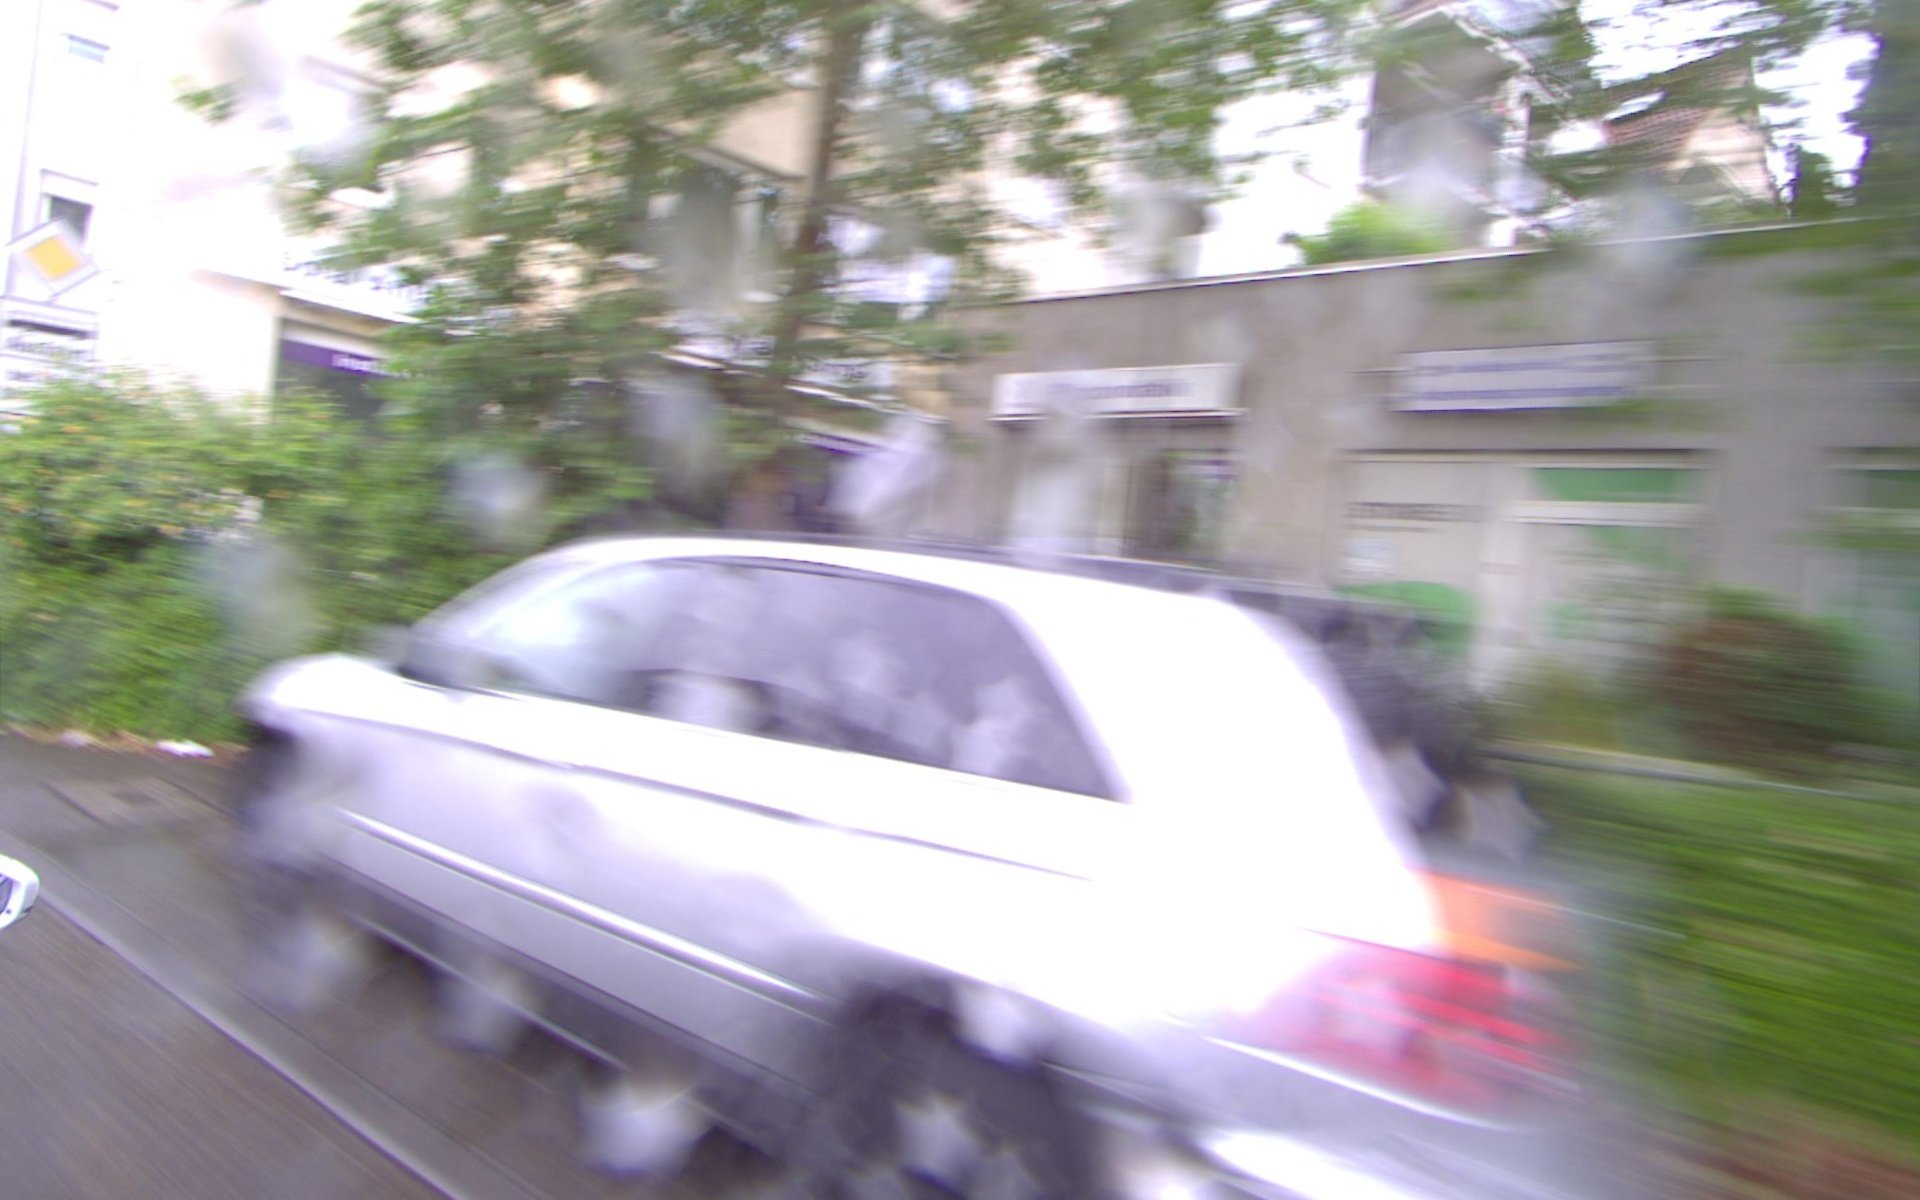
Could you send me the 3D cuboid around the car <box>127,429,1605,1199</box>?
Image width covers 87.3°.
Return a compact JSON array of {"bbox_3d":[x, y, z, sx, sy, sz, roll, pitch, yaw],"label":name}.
[{"bbox_3d":[-0.691,0.531,3.393,4.657,1.803,1.931,7,1,34],"label":"car"}]
